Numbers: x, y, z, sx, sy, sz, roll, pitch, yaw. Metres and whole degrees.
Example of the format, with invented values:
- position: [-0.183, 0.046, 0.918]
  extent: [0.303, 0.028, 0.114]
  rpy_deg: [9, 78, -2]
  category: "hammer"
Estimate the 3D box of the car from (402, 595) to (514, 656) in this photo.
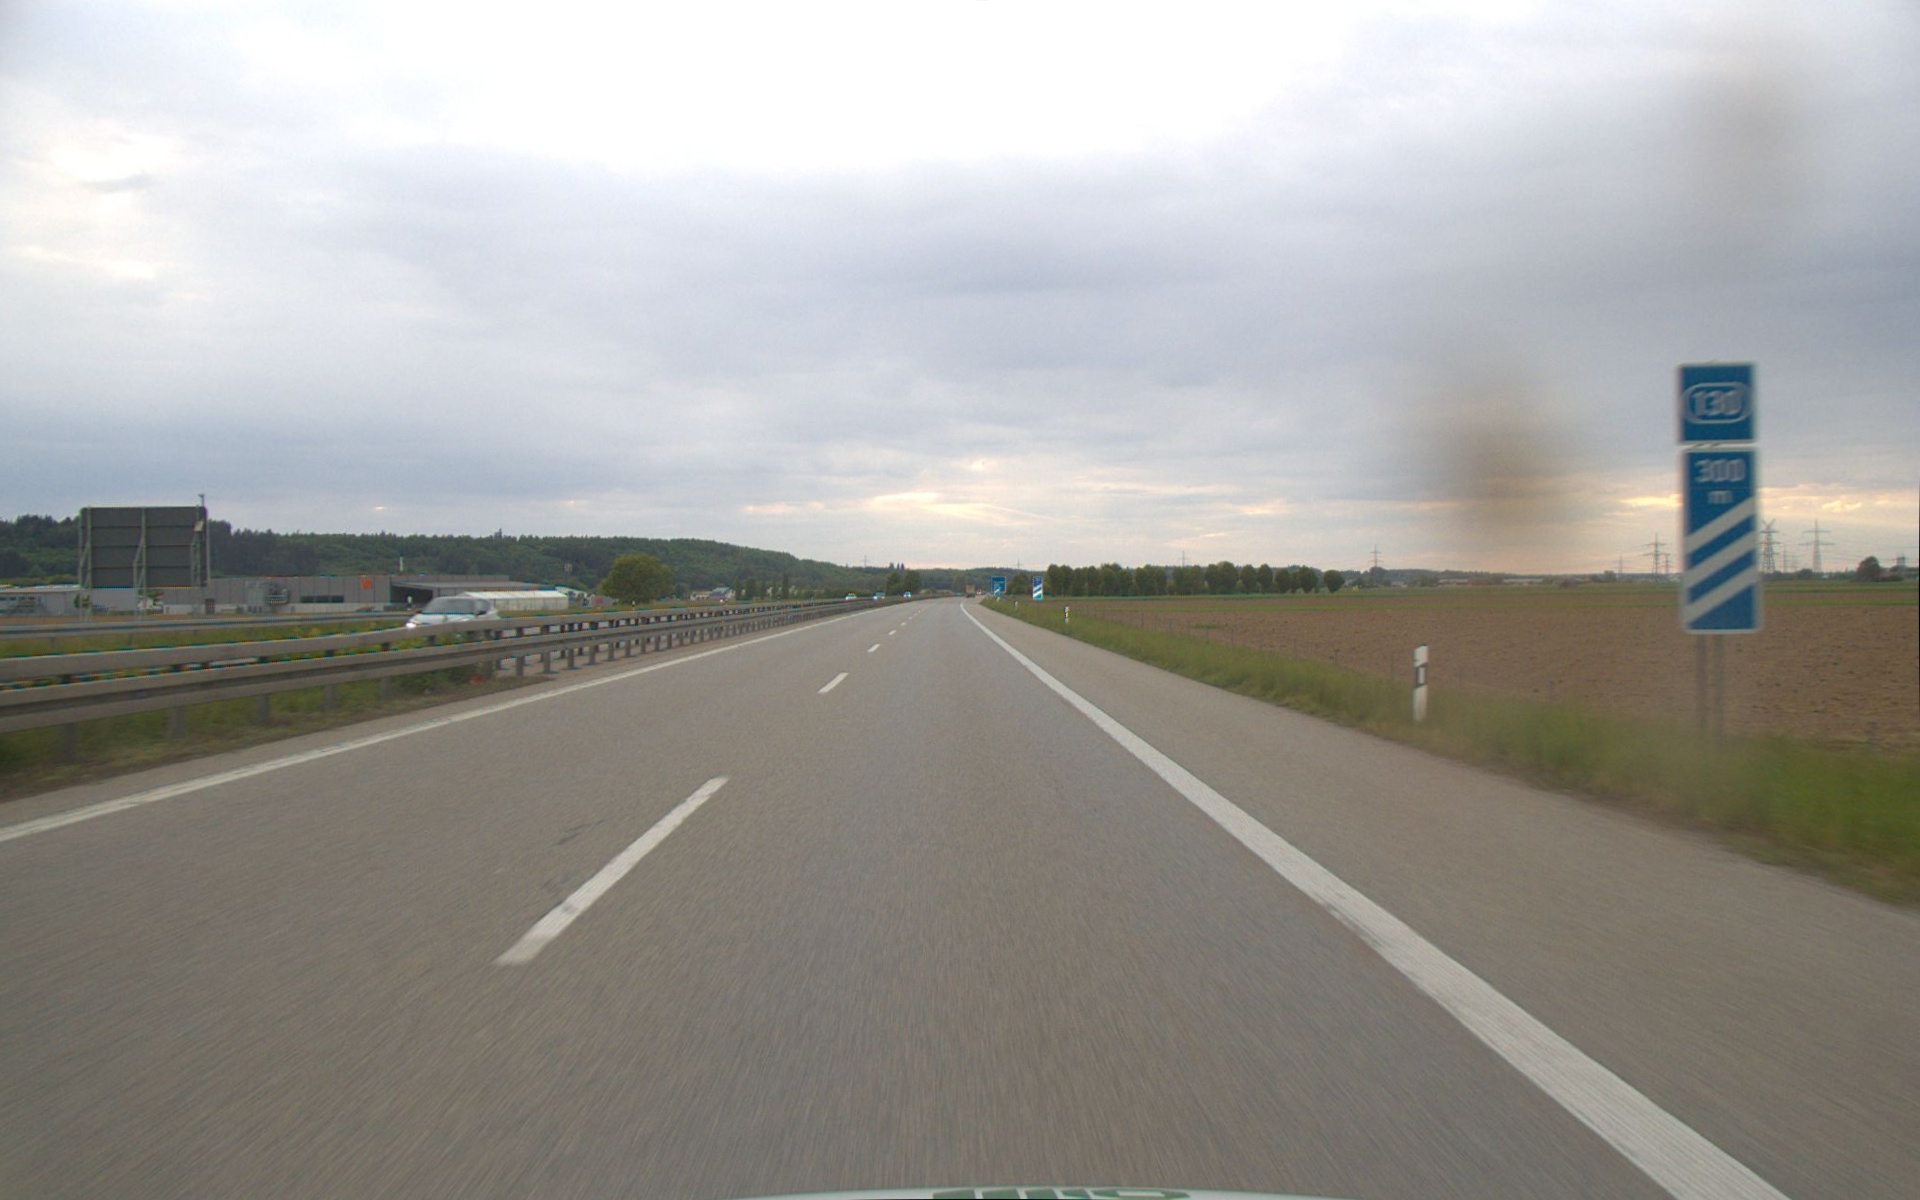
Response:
- position: [-14.044, 0.685, 46.546]
  extent: [1.705, 1.602, 4.855]
  rpy_deg: [1, 0, -1]
  category: "car"
